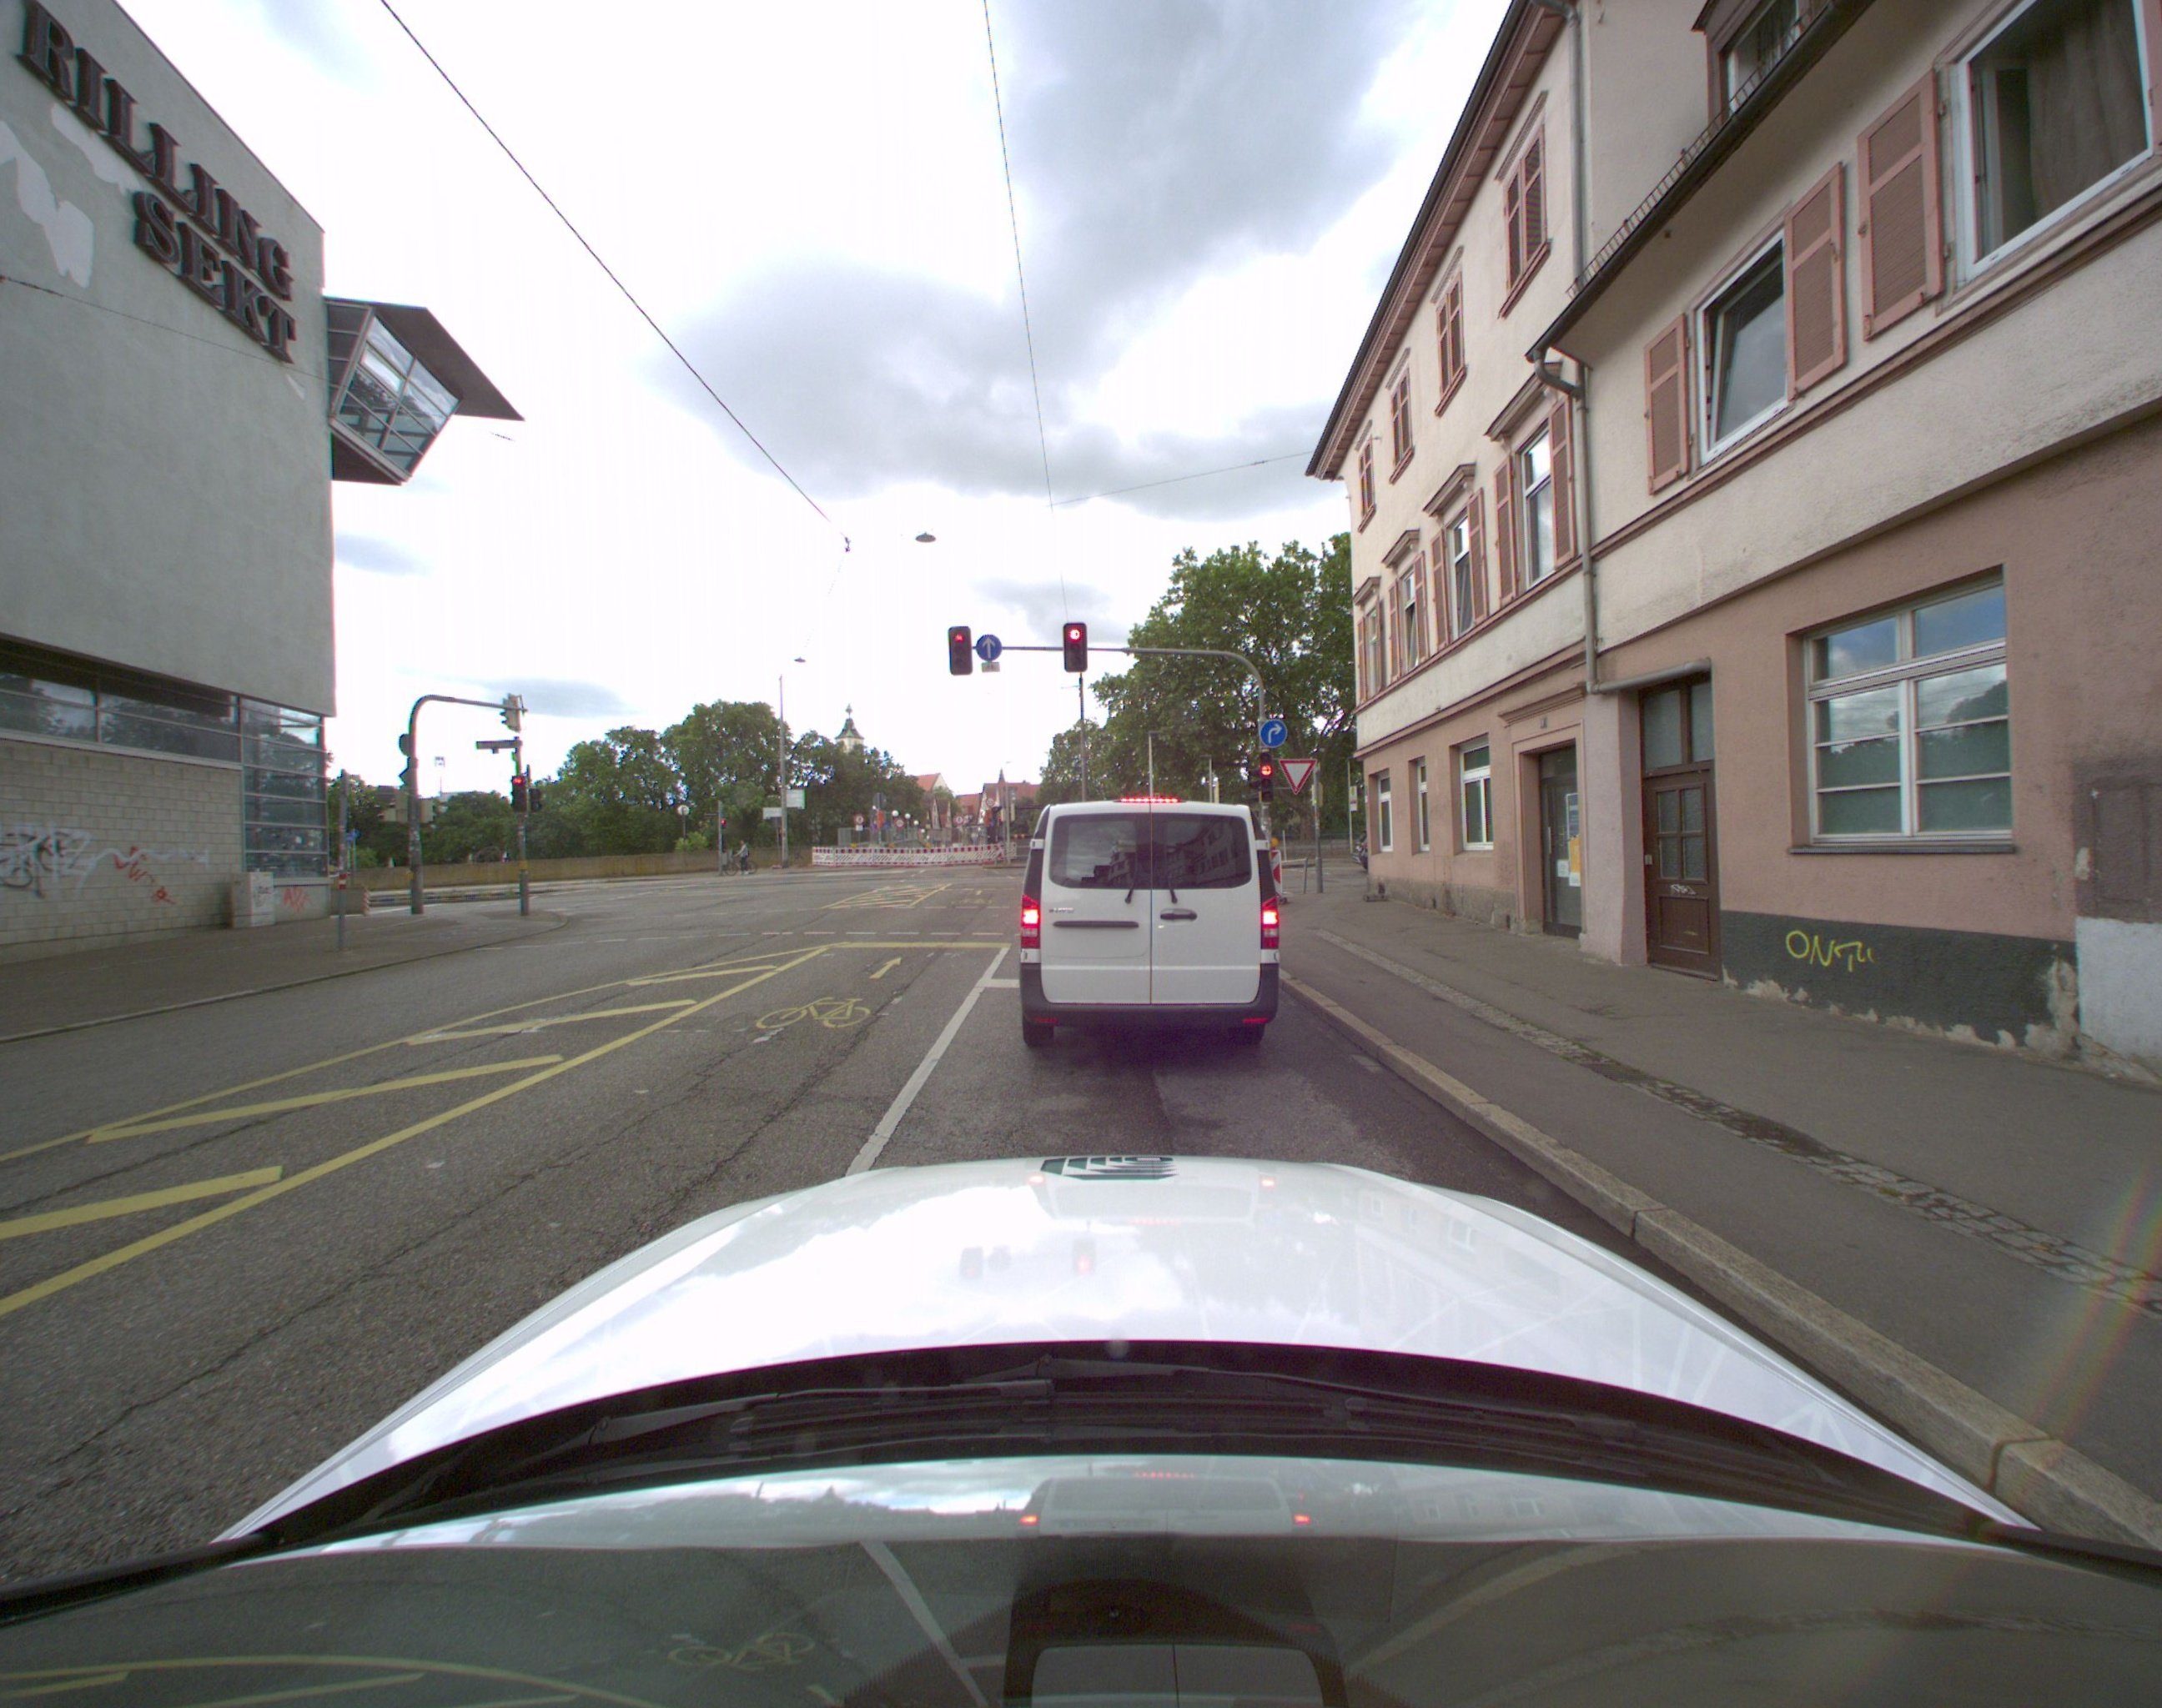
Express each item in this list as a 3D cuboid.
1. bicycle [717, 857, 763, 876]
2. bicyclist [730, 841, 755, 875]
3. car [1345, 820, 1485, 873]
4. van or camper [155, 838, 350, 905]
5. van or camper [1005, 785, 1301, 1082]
[{"bbox_3d":[-18.197,0.646,43.481,2.149,0.892,0.751,-3,2,-39],"label":"bicycle"},{"bbox_3d":[-18.110,0.200,43.541,1.010,1.743,0.746,-2,1,-39],"label":"bicyclist"},{"bbox_3d":[11.226,-0.272,27.594,4.045,1.573,1.833,-2,2,9],"label":"car"},{"bbox_3d":[-35.046,0.707,34.662,5.408,2.513,2.023,-2,-1,-19],"label":"van or camper"},{"bbox_3d":[0.435,0.445,7.537,1.932,1.924,4.439,0,2,-1],"label":"van or camper"}]
